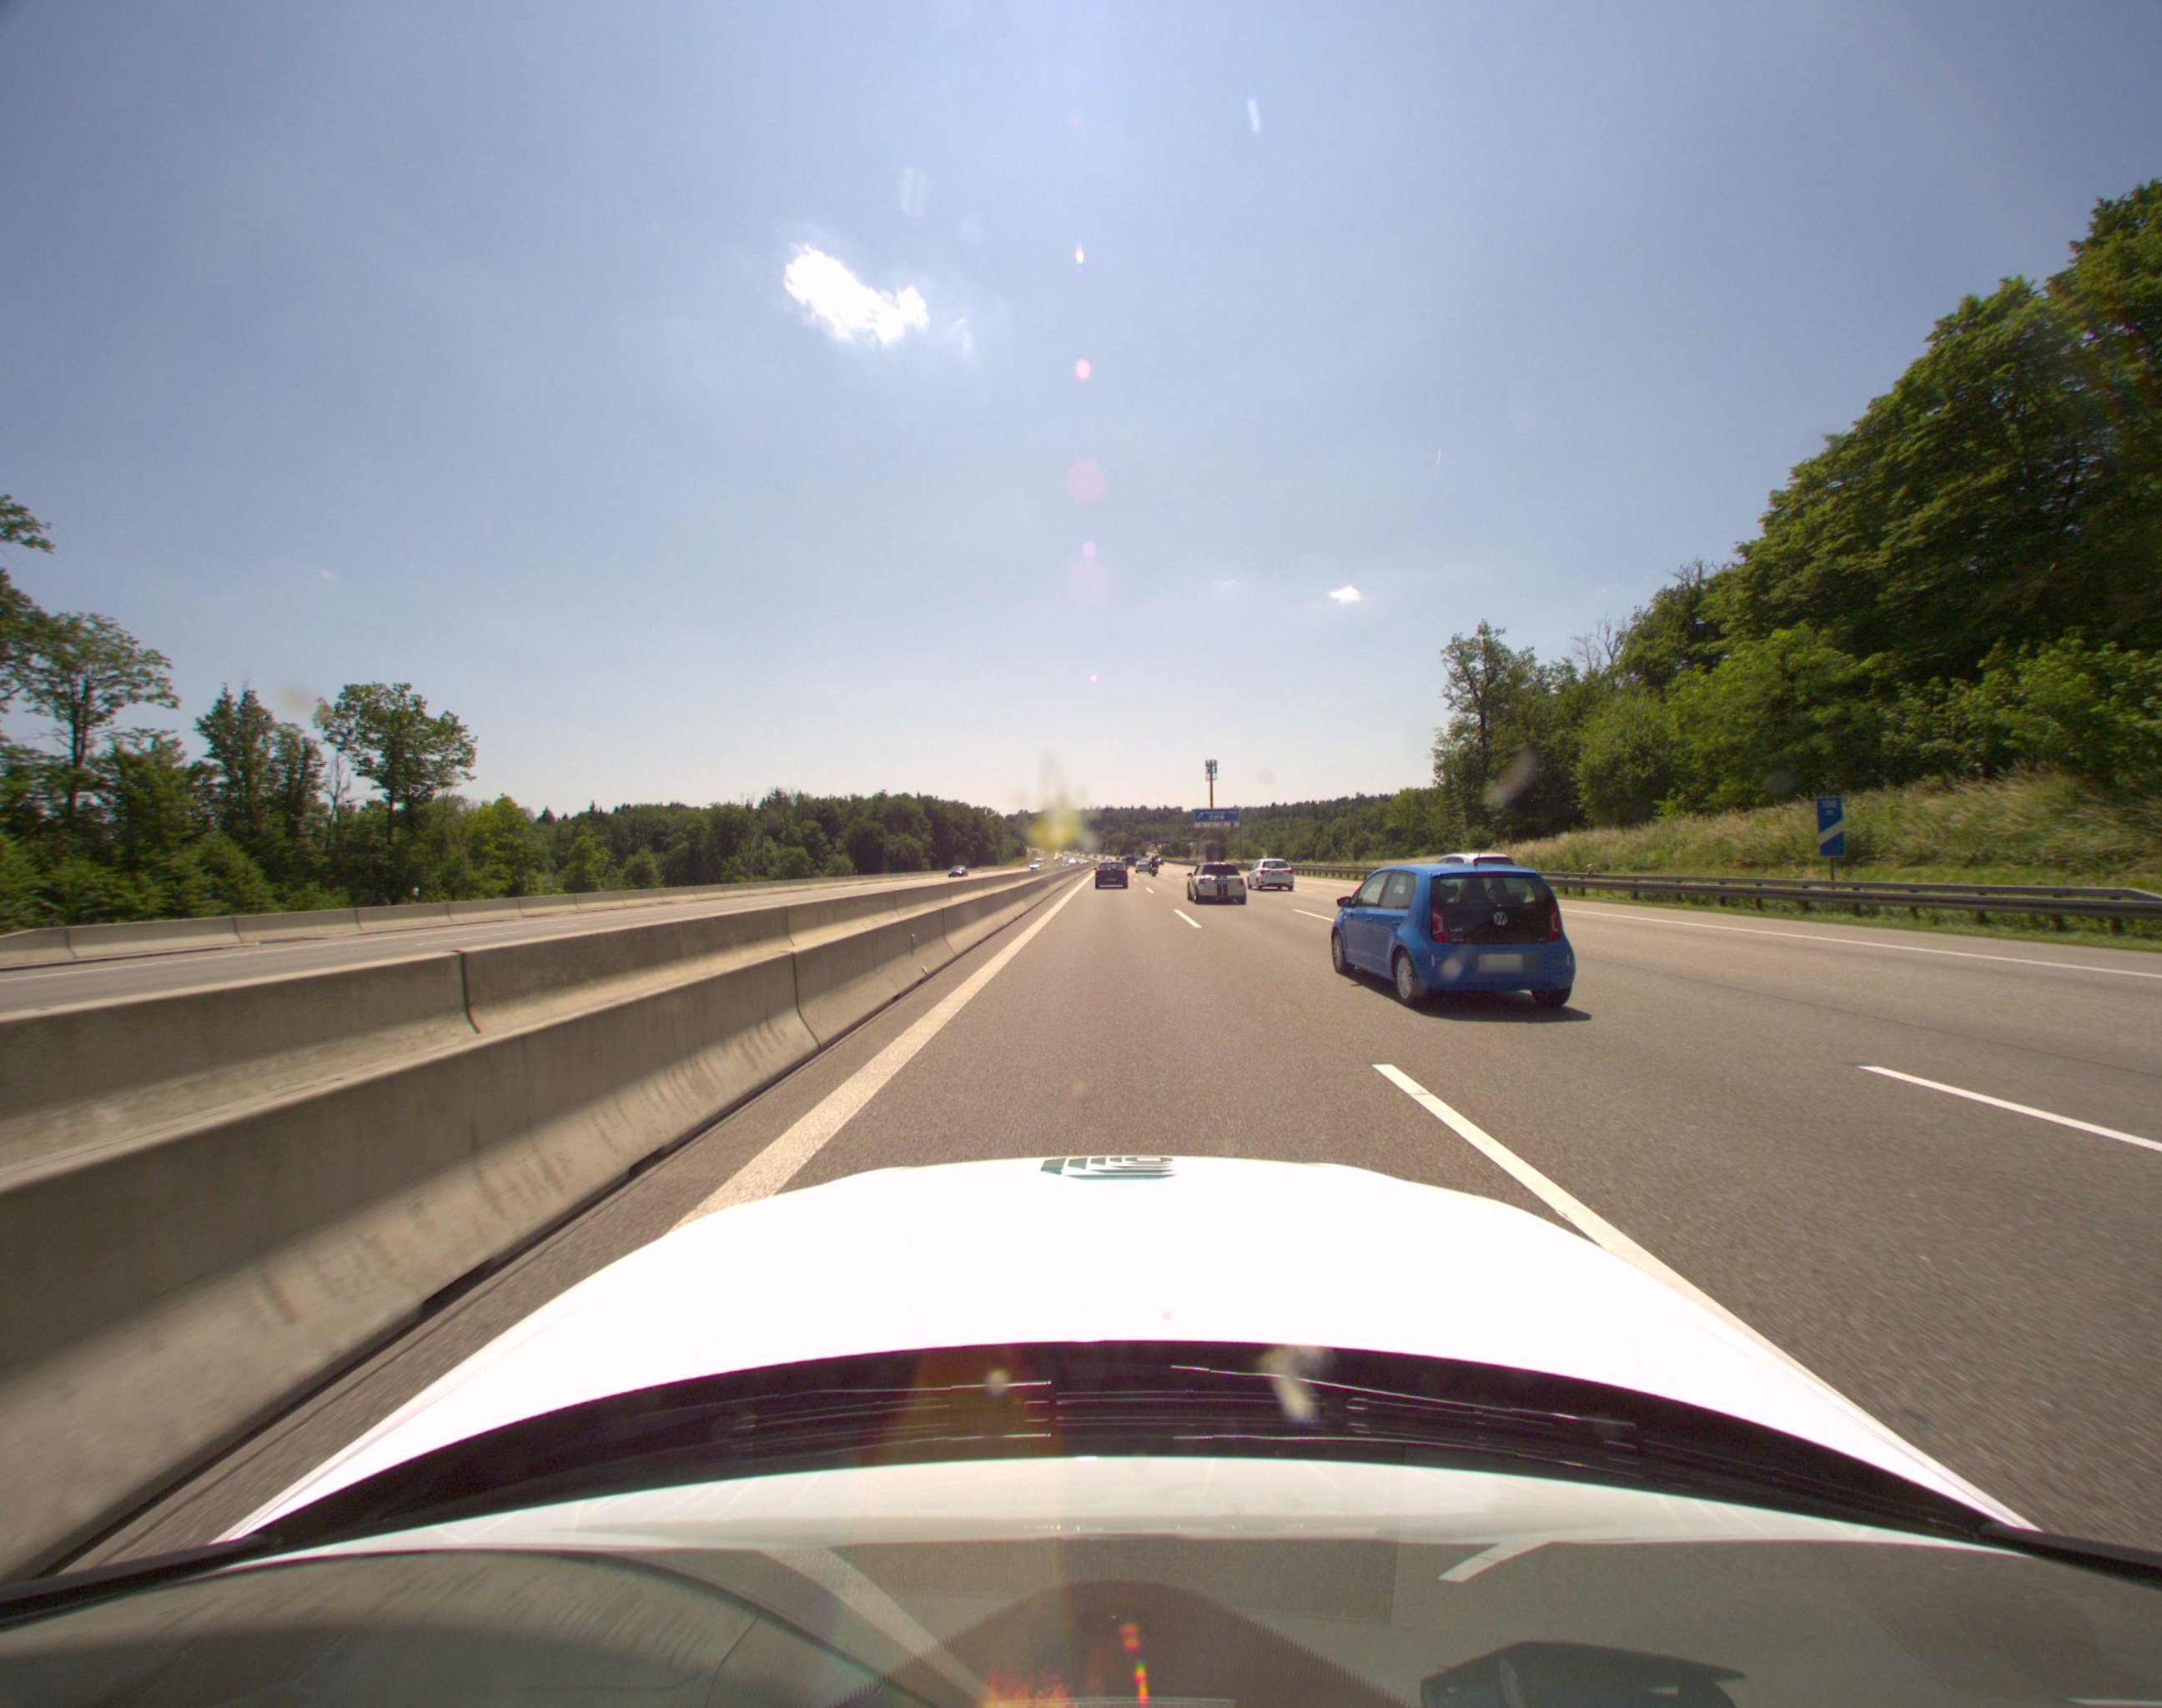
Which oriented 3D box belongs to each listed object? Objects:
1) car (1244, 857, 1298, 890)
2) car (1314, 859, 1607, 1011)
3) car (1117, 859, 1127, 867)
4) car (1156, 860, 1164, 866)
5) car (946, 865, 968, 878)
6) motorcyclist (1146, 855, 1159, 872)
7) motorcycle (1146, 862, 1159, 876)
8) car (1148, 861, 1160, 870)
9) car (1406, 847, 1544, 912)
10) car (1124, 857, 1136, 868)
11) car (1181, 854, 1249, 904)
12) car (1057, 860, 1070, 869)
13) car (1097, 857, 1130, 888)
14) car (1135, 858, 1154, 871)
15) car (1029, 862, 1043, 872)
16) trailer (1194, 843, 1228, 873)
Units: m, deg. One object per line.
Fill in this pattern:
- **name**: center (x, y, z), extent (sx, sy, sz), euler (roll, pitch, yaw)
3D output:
- **car**: center (9.063, 0.903, 39.156), extent (1.660, 1.433, 4.376), euler (-2, 0, 1)
- **car**: center (4.147, 0.775, 9.678), extent (1.730, 1.411, 4.002), euler (-1, 0, 2)
- **car**: center (9.284, 1.970, 185.091), extent (1.989, 1.684, 4.420), euler (0, 0, -2)
- **car**: center (18.268, 2.040, 187.970), extent (1.603, 1.212, 3.459), euler (-2, -1, 0)
- **car**: center (-15.292, 2.171, 100.767), extent (1.832, 1.441, 4.765), euler (-3, -1, 1)
- **motorcyclist**: center (6.110, 0.815, 69.715), extent (0.959, 1.437, 1.235), euler (-3, 0, 0)
- **motorcycle**: center (6.113, 1.282, 69.797), extent (0.974, 1.129, 2.271), euler (-2, 0, 1)
- **car**: center (12.280, 1.938, 136.801), extent (1.670, 1.432, 3.685), euler (-1, -1, 0)
- **car**: center (11.676, 0.665, 24.605), extent (1.794, 1.731, 5.241), euler (0, 0, 2)
- **car**: center (8.780, 1.526, 146.476), extent (2.089, 1.851, 4.082), euler (-2, 0, 1)
- **car**: center (4.564, 0.834, 28.299), extent (1.834, 1.552, 4.002), euler (2, -1, 2)
- **car**: center (-2.898, 1.772, 134.369), extent (1.832, 1.441, 4.845), euler (-1, -1, 1)
- **car**: center (1.705, 0.927, 42.819), extent (1.618, 1.487, 3.687), euler (0, 1, 2)
- **car**: center (6.819, 1.100, 87.577), extent (1.776, 1.265, 3.461), euler (-2, 0, 2)
- **car**: center (-7.109, 2.001, 128.086), extent (1.832, 1.441, 4.000), euler (-1, -1, 1)
- **trailer**: center (17.608, 0.637, 111.251), extent (2.846, 3.688, 13.547), euler (-2, -1, 2)
